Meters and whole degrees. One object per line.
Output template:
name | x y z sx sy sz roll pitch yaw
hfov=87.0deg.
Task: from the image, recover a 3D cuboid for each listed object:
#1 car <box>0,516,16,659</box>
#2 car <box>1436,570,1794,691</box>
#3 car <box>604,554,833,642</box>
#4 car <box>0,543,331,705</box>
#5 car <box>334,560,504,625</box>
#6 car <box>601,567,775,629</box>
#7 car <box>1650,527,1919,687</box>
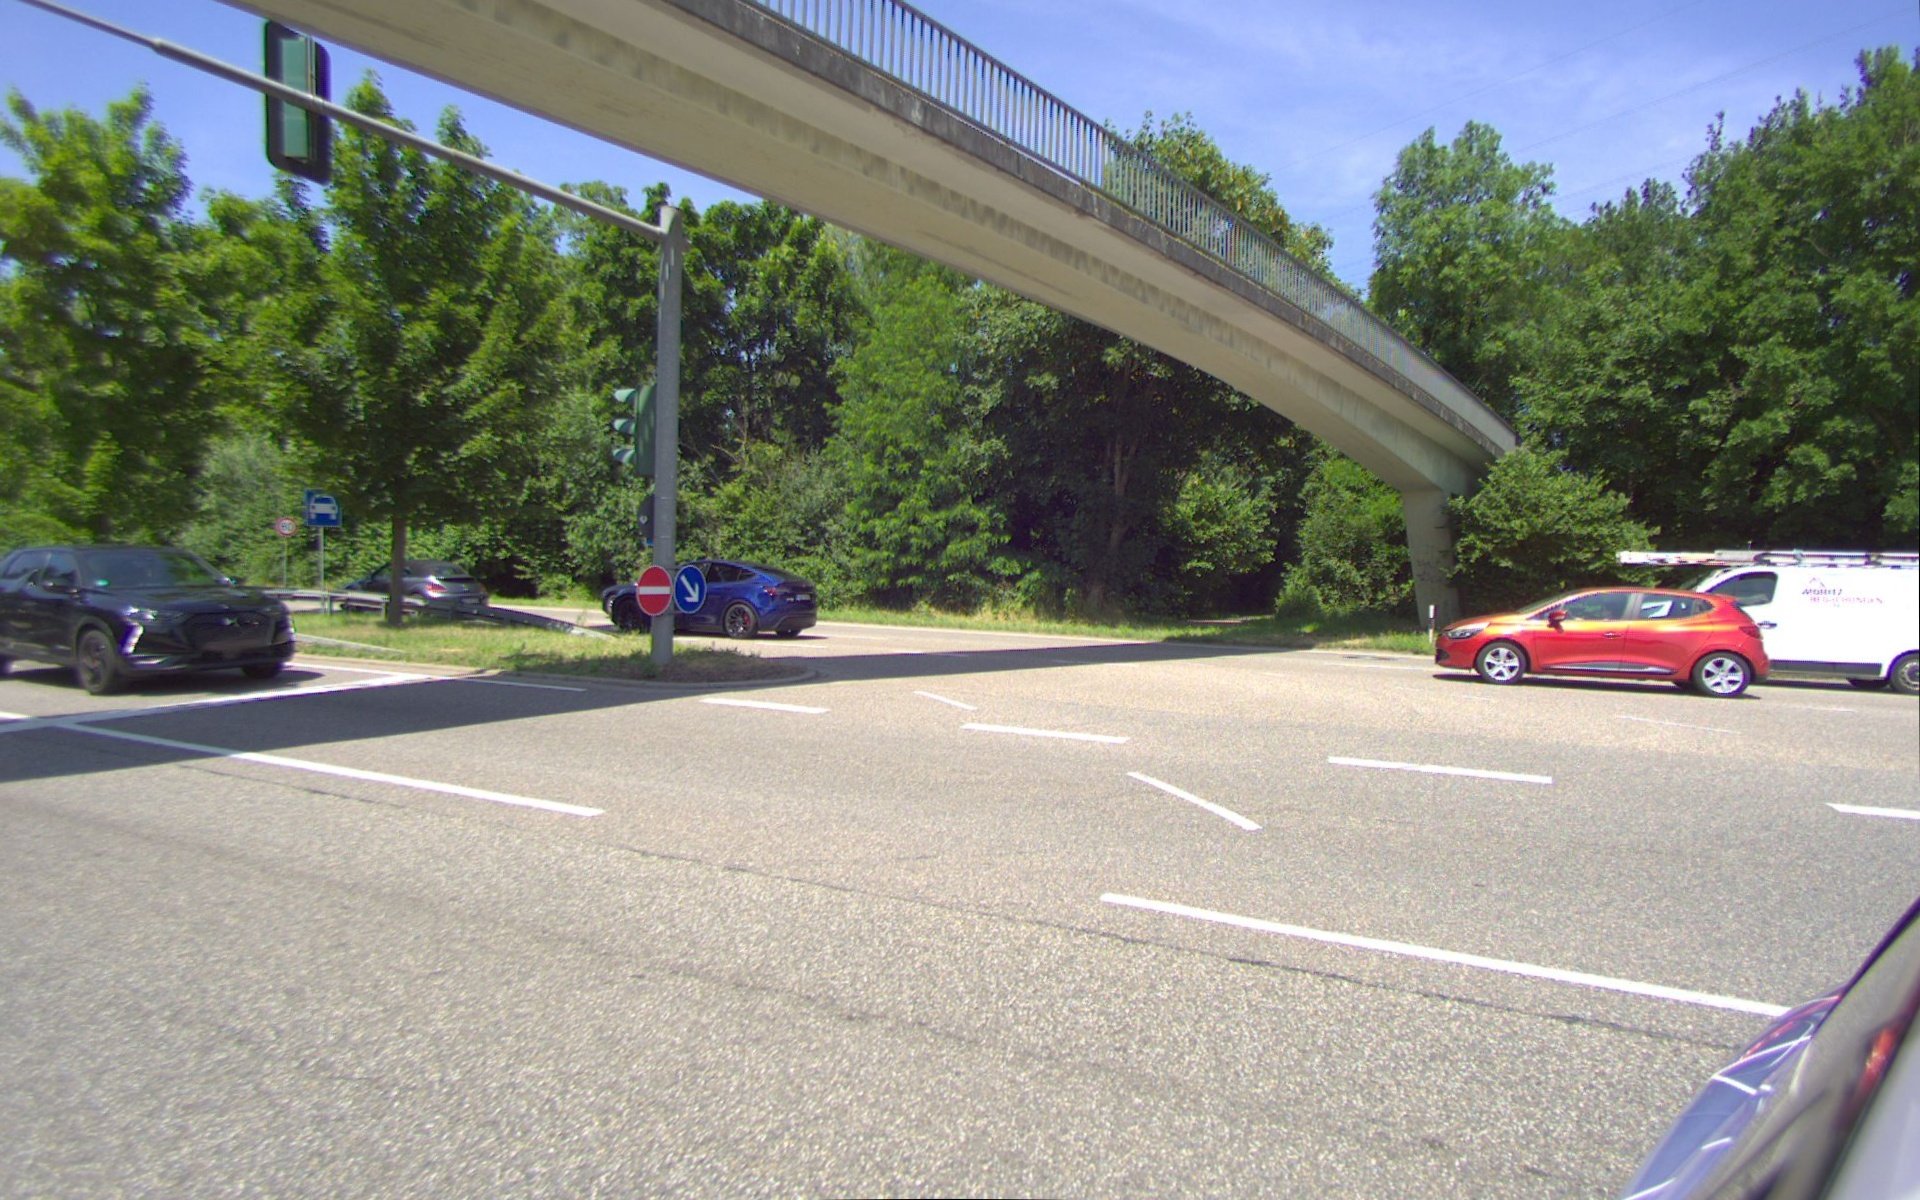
car | -16.365 -0.206 14.620 5.432 2.017 2.196 1 2 26
car | 9.076 0.375 14.461 4.021 1.480 1.734 2 -1 24
car | -5.079 -0.067 21.258 4.473 1.665 1.890 2 -1 25
car | -9.411 0.140 11.538 3.987 1.541 1.984 1 4 26
car | -13.738 -0.213 25.686 3.899 1.496 1.889 2 1 26
car | -7.277 -0.113 27.032 4.336 1.496 1.890 2 2 26
car | 14.207 0.106 16.121 5.023 2.379 1.921 1 -1 26
